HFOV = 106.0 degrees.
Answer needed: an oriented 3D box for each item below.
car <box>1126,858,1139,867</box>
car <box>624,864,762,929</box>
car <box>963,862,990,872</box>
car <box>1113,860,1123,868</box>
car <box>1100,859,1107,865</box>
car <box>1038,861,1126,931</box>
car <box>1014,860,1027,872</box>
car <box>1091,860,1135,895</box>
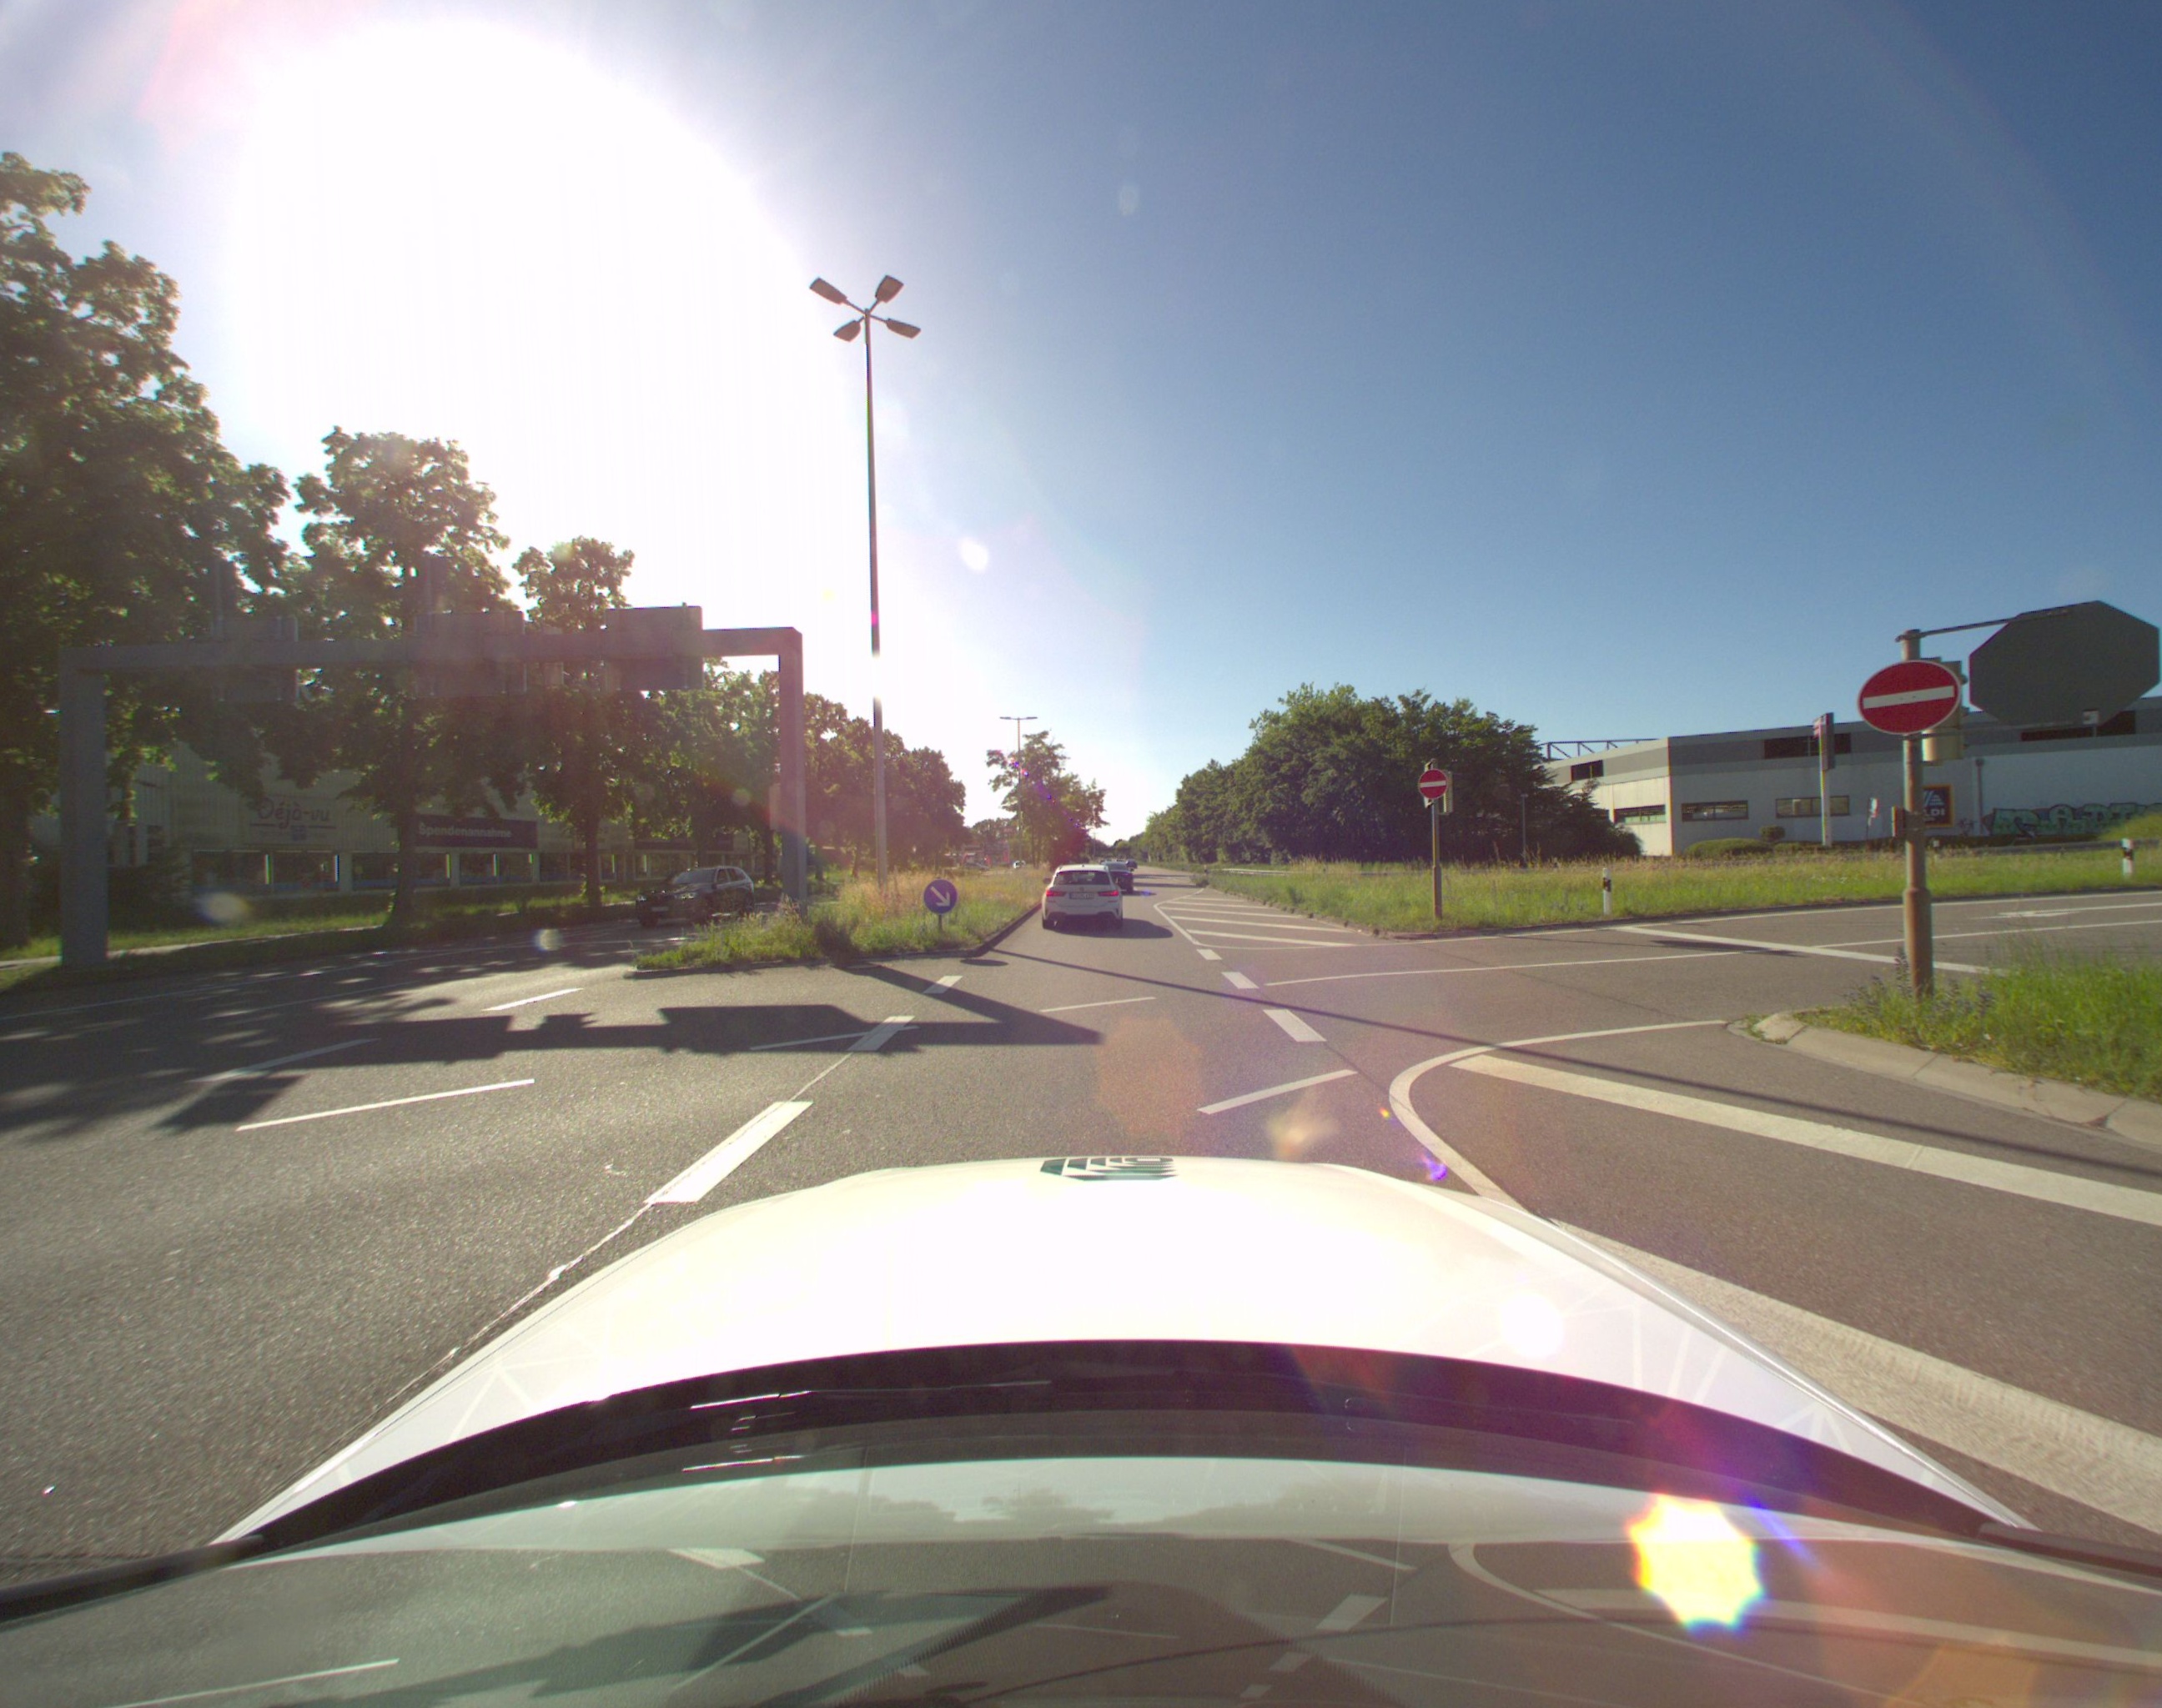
[{"bbox_3d":[8.190,1.355,129.721,1.855,1.499,4.337,-1,-1,1],"label":"car"},{"bbox_3d":[-11.998,1.252,25.591,1.935,1.697,4.631,-3,0,1],"label":"car"},{"bbox_3d":[-17.587,2.189,137.399,4.092,1.662,1.894,-2,0,3],"label":"car"},{"bbox_3d":[7.224,1.952,160.754,1.766,1.555,3.832,-2,0,0],"label":"car"},{"bbox_3d":[6.325,2.189,227.383,1.855,1.565,4.548,-1,0,1],"label":"car"},{"bbox_3d":[0.092,0.925,19.690,1.855,1.455,4.549,-1,0,2],"label":"car"},{"bbox_3d":[-9.344,1.893,126.010,1.701,1.746,4.165,-1,0,0],"label":"car"},{"bbox_3d":[1.449,1.028,37.837,1.855,1.455,4.548,-2,0,1],"label":"car"}]
